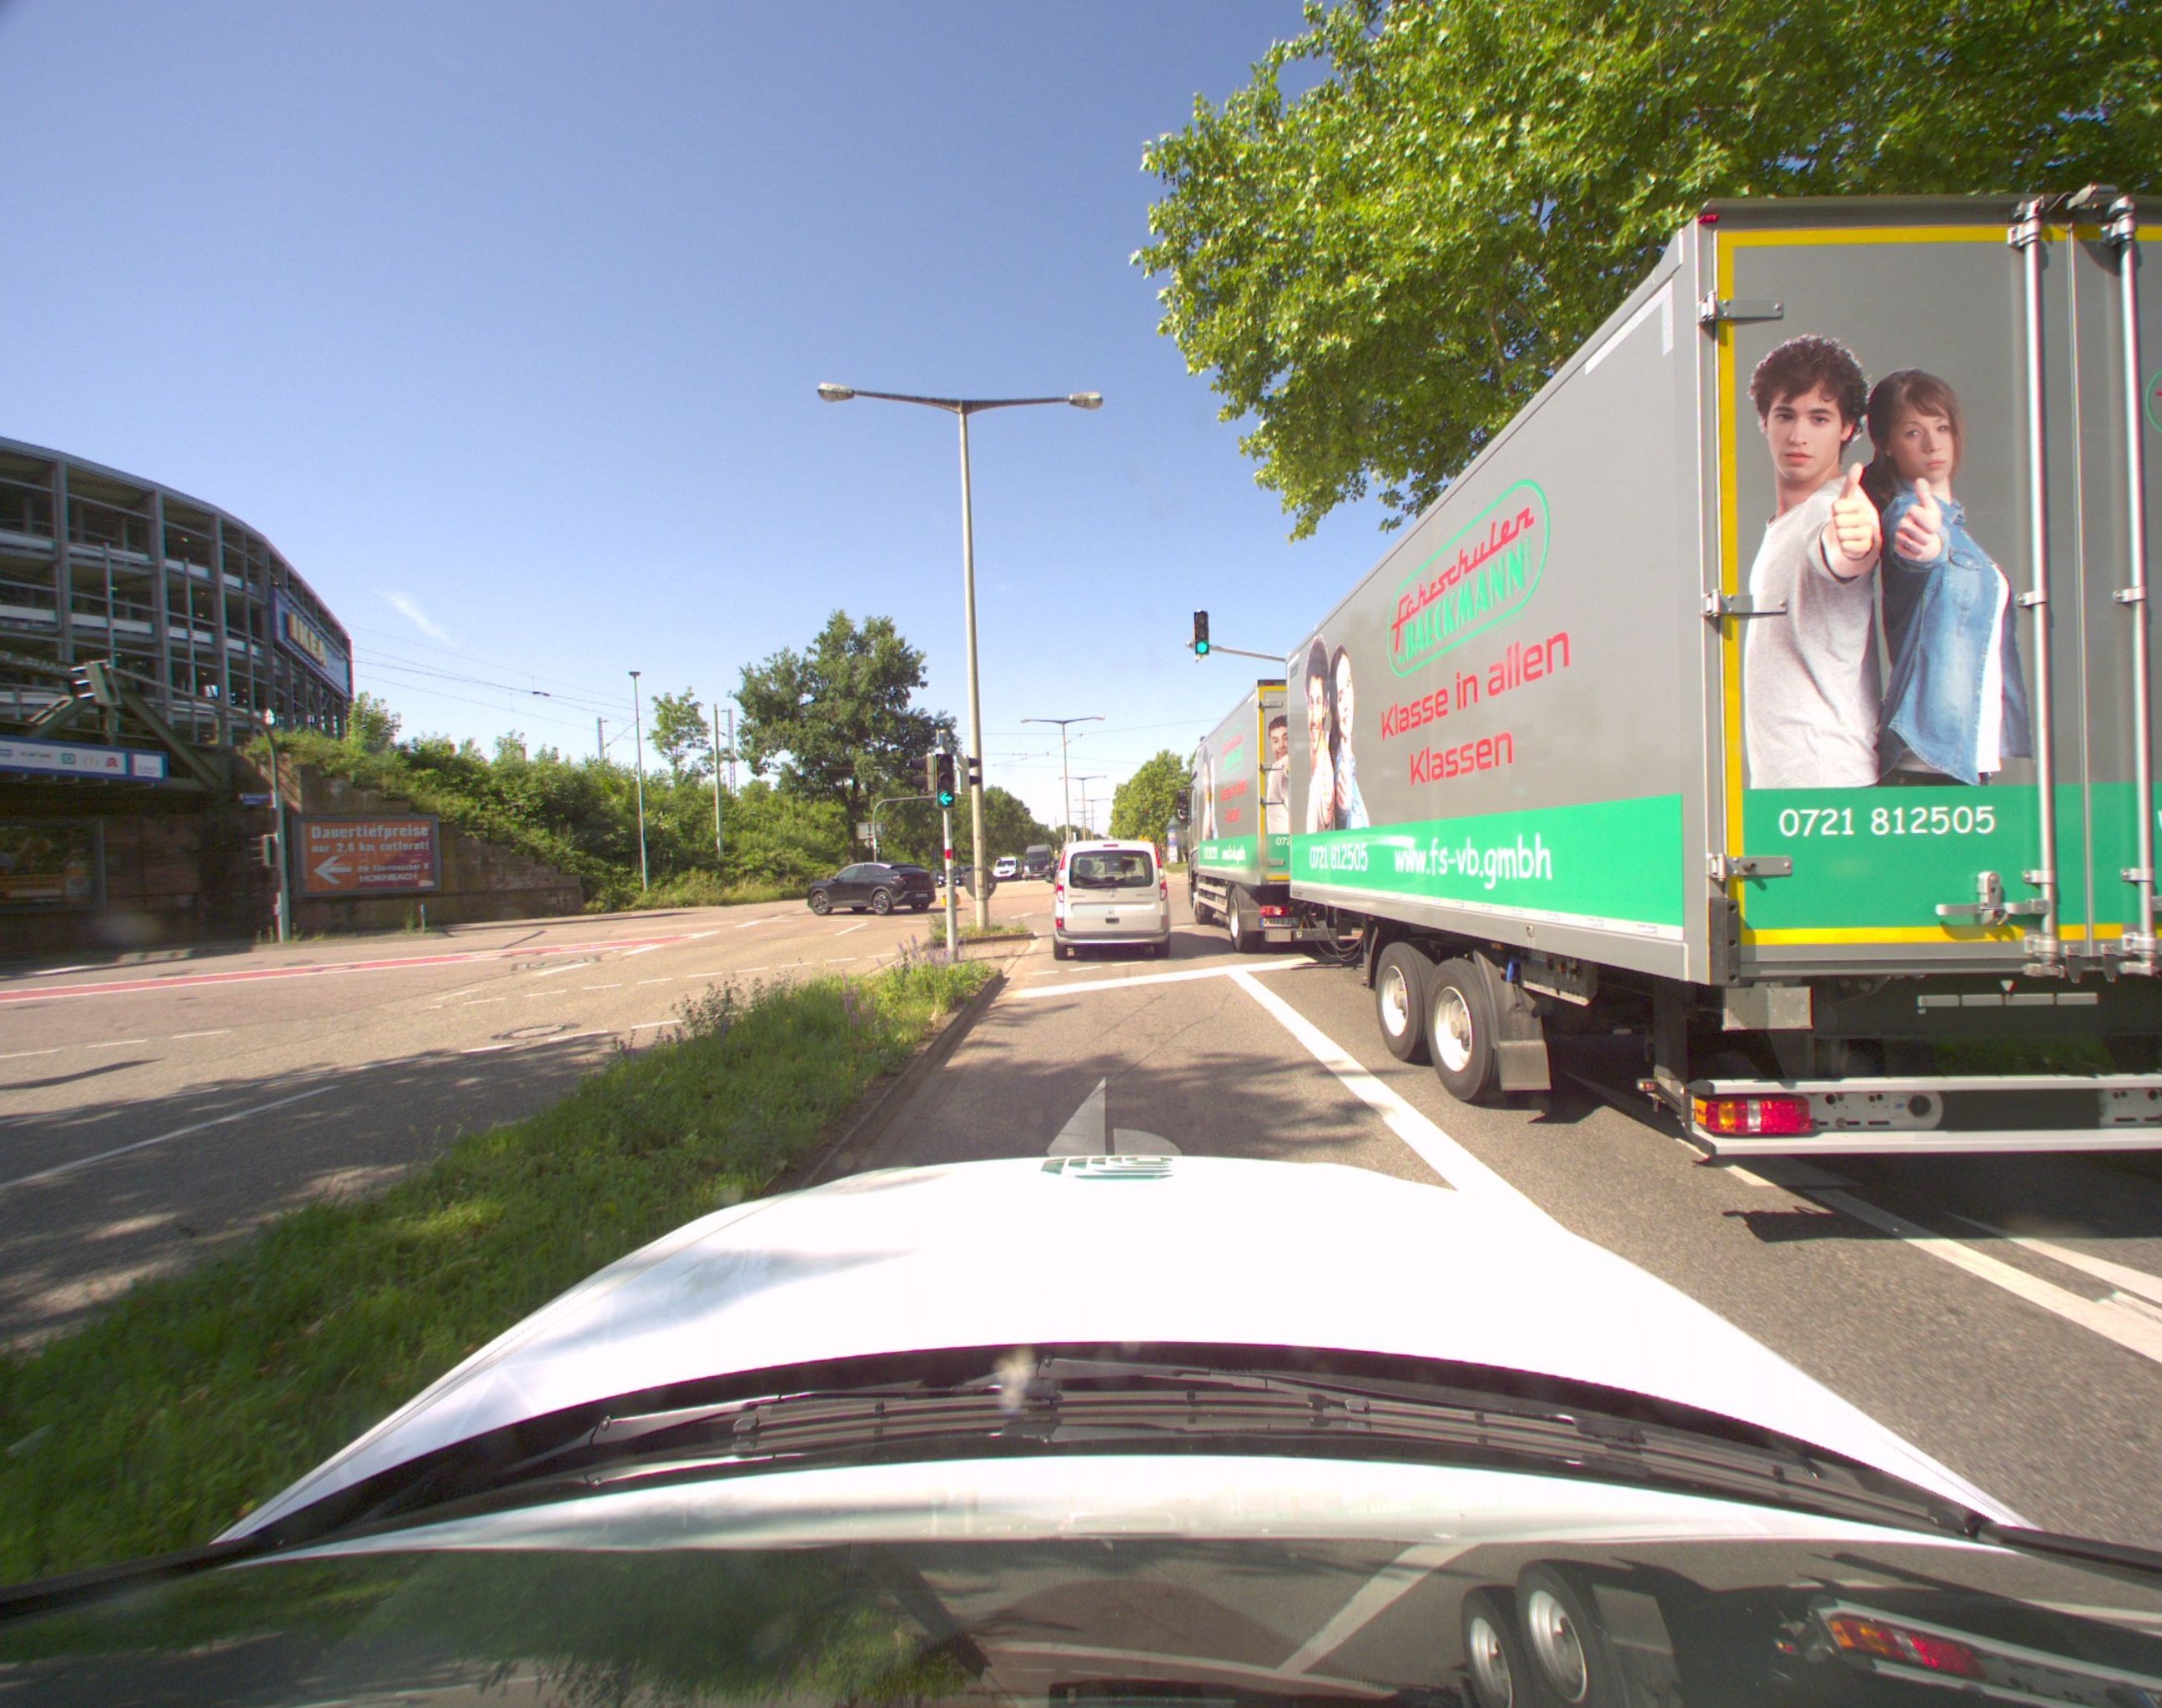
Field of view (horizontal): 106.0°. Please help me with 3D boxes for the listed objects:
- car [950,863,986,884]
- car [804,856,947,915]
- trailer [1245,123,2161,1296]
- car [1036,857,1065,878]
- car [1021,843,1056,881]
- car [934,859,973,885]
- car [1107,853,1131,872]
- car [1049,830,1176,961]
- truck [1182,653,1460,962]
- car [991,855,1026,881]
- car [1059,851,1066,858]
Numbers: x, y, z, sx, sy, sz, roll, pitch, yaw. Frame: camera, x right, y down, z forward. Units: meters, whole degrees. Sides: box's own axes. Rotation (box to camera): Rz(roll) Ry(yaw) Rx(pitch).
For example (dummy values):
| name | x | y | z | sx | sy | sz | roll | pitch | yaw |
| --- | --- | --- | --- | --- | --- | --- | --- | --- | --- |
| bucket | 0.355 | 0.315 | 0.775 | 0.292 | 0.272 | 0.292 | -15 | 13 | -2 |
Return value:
| name | x | y | z | sx | sy | sz | roll | pitch | yaw |
| --- | --- | --- | --- | --- | --- | --- | --- | --- | --- |
| car | -8.826 | 1.505 | 63.928 | 1.985 | 1.540 | 4.239 | -3 | -1 | 3 |
| car | -6.552 | 0.996 | 25.907 | 4.174 | 1.662 | 1.949 | -3 | 0 | 31 |
| trailer | 3.424 | -0.478 | 6.592 | 2.726 | 3.877 | 7.738 | -2 | -1 | 2 |
| car | -2.530 | 1.118 | 68.495 | 1.985 | 1.585 | 4.003 | -4 | -1 | 3 |
| car | -3.144 | 0.589 | 60.881 | 1.985 | 2.607 | 5.137 | -3 | -1 | 3 |
| car | -8.865 | 1.250 | 57.082 | 1.904 | 1.641 | 3.739 | -3 | -1 | 3 |
| car | 3.345 | 0.778 | 70.876 | 1.985 | 1.585 | 4.459 | -1 | -1 | 3 |
| car | 0.448 | 0.608 | 13.573 | 1.781 | 1.838 | 3.999 | -1 | -1 | 0 |
| truck | 3.614 | -0.553 | 14.846 | 2.719 | 3.889 | 8.727 | -2 | -1 | 2 |
| car | -5.626 | 1.061 | 63.387 | 1.985 | 1.870 | 4.777 | -3 | -1 | 3 |
| car | -5.610 | 0.183 | 245.734 | 1.881 | 2.014 | 4.002 | -1 | -1 | 2 |
